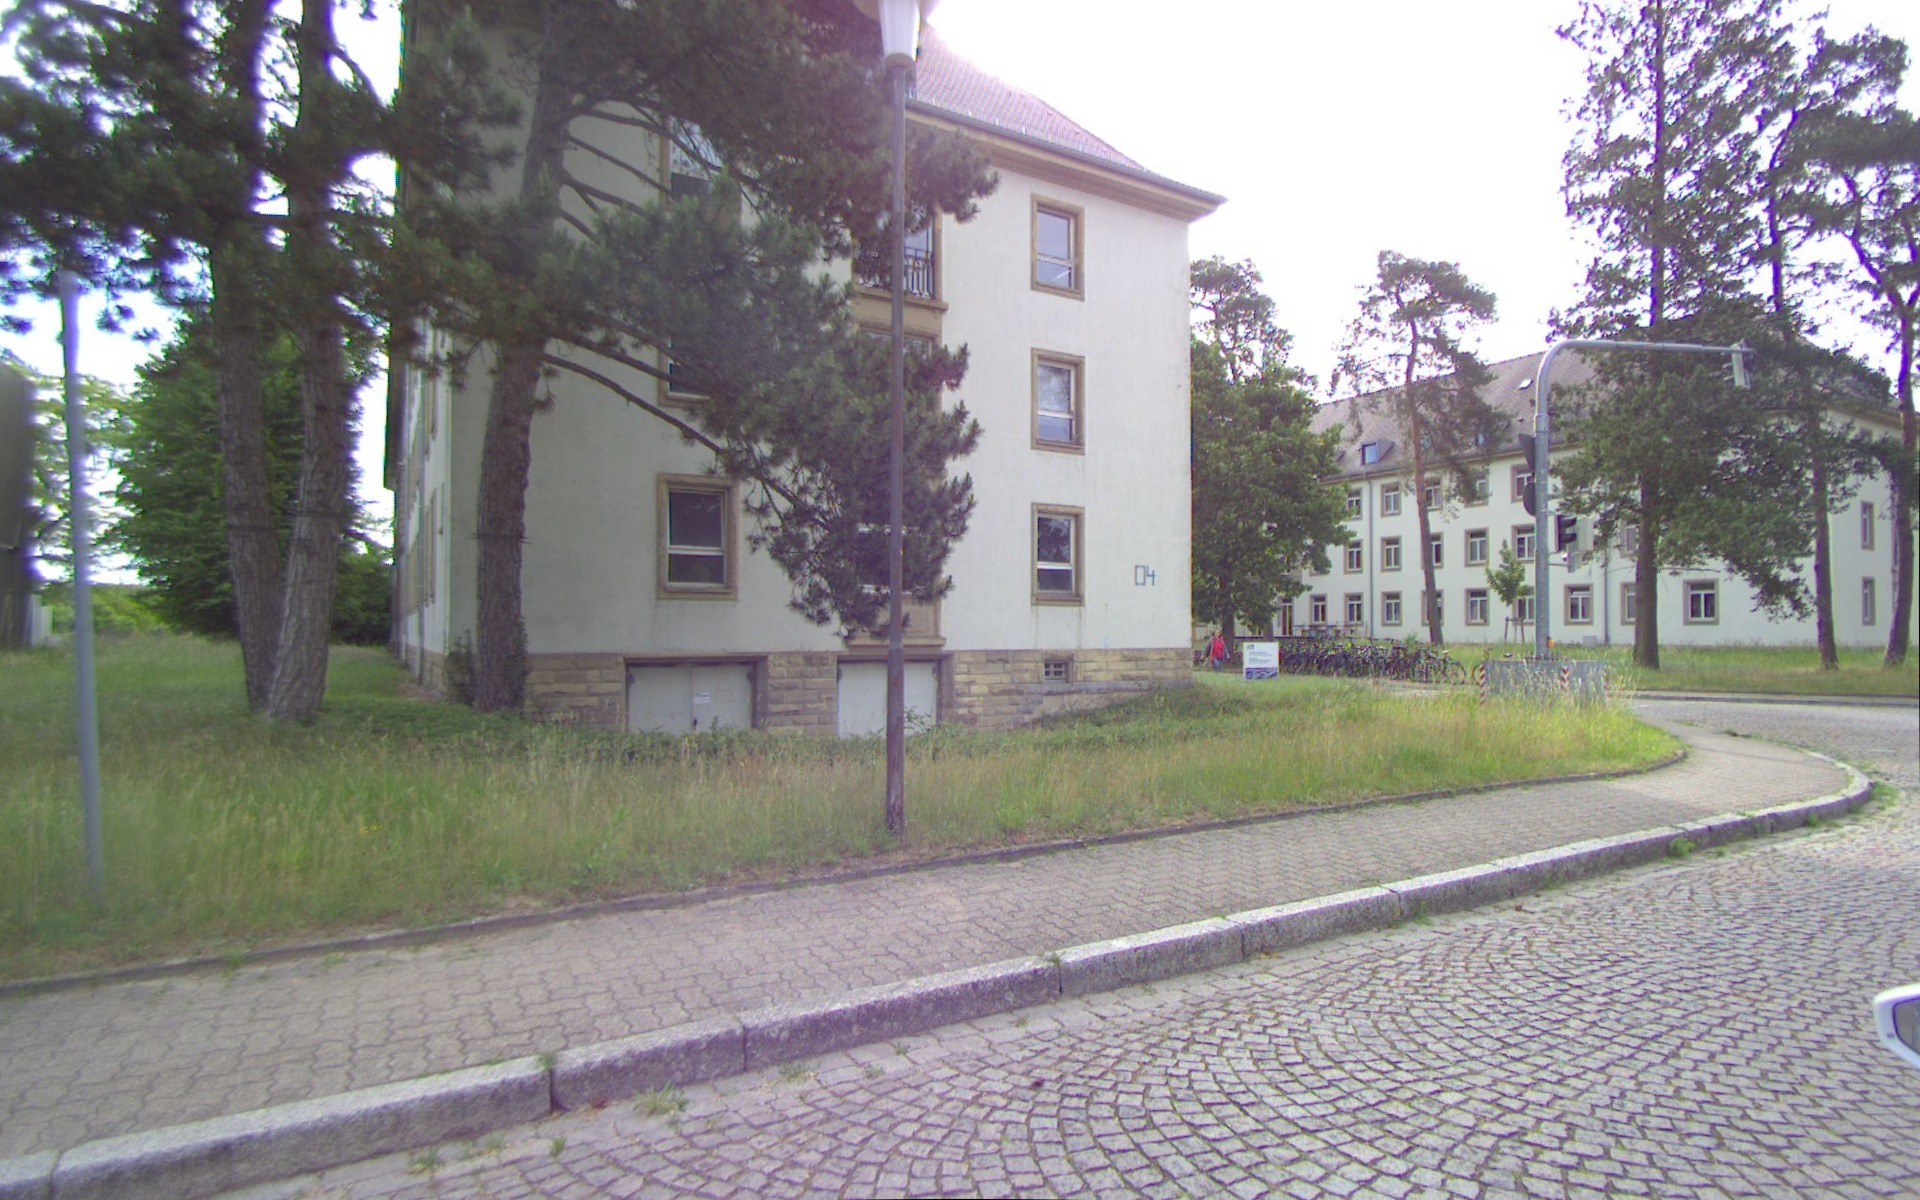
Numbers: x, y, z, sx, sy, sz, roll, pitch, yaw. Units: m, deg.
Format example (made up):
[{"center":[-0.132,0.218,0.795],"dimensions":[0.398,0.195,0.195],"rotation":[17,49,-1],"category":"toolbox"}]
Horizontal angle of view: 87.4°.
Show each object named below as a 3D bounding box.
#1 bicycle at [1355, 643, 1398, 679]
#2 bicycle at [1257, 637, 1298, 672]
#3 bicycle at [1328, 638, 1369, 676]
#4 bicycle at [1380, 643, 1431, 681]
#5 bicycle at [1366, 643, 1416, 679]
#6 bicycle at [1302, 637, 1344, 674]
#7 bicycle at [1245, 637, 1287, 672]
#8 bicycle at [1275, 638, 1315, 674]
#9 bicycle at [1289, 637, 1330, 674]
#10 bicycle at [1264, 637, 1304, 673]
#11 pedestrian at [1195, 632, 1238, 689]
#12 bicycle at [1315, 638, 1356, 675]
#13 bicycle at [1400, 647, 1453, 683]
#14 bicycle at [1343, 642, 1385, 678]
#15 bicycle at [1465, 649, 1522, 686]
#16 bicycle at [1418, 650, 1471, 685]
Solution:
[{"center":[14.051,2.033,33.860],"dimensions":[1.677,1.193,0.446],"rotation":[1,-2,-33],"category":"bicycle"},{"center":[11.943,2.045,37.723],"dimensions":[1.766,1.300,0.440],"rotation":[1,-2,-33],"category":"bicycle"},{"center":[13.518,1.975,34.938],"dimensions":[1.677,1.300,0.446],"rotation":[1,-2,-33],"category":"bicycle"},{"center":[14.616,2.015,32.923],"dimensions":[1.933,1.193,0.572],"rotation":[1,-2,-33],"category":"bicycle"},{"center":[14.357,2.019,33.449],"dimensions":[1.909,1.193,0.524],"rotation":[1,-2,-33],"category":"bicycle"},{"center":[12.932,1.978,35.772],"dimensions":[1.677,1.300,0.446],"rotation":[1,-2,-33],"category":"bicycle"},{"center":[11.597,2.046,38.053],"dimensions":[1.808,1.300,0.446],"rotation":[1,-2,-33],"category":"bicycle"},{"center":[12.270,2.037,36.802],"dimensions":[1.677,1.300,0.446],"rotation":[1,-2,-33],"category":"bicycle"},{"center":[12.628,1.980,36.244],"dimensions":[1.677,1.300,0.446],"rotation":[1,-2,-33],"category":"bicycle"},{"center":[12.014,2.038,37.215],"dimensions":[1.677,1.300,0.446],"rotation":[1,-2,-33],"category":"bicycle"},{"center":[7.752,1.803,30.383],"dimensions":[0.928,1.690,0.856],"rotation":[1,-2,-27],"category":"pedestrian"},{"center":[13.229,1.977,35.351],"dimensions":[1.677,1.300,0.446],"rotation":[1,-2,-33],"category":"bicycle"},{"center":[15.043,2.081,32.372],"dimensions":[1.975,1.092,0.572],"rotation":[1,-2,-33],"category":"bicycle"},{"center":[13.788,2.022,34.268],"dimensions":[1.677,1.193,0.446],"rotation":[1,-2,-33],"category":"bicycle"},{"center":[15.379,1.933,28.986],"dimensions":[0.447,1.009,1.453],"rotation":[1,-2,-29],"category":"bicycle"},{"center":[14.589,2.034,30.287],"dimensions":[0.447,1.009,1.453],"rotation":[1,-2,-29],"category":"bicycle"}]
